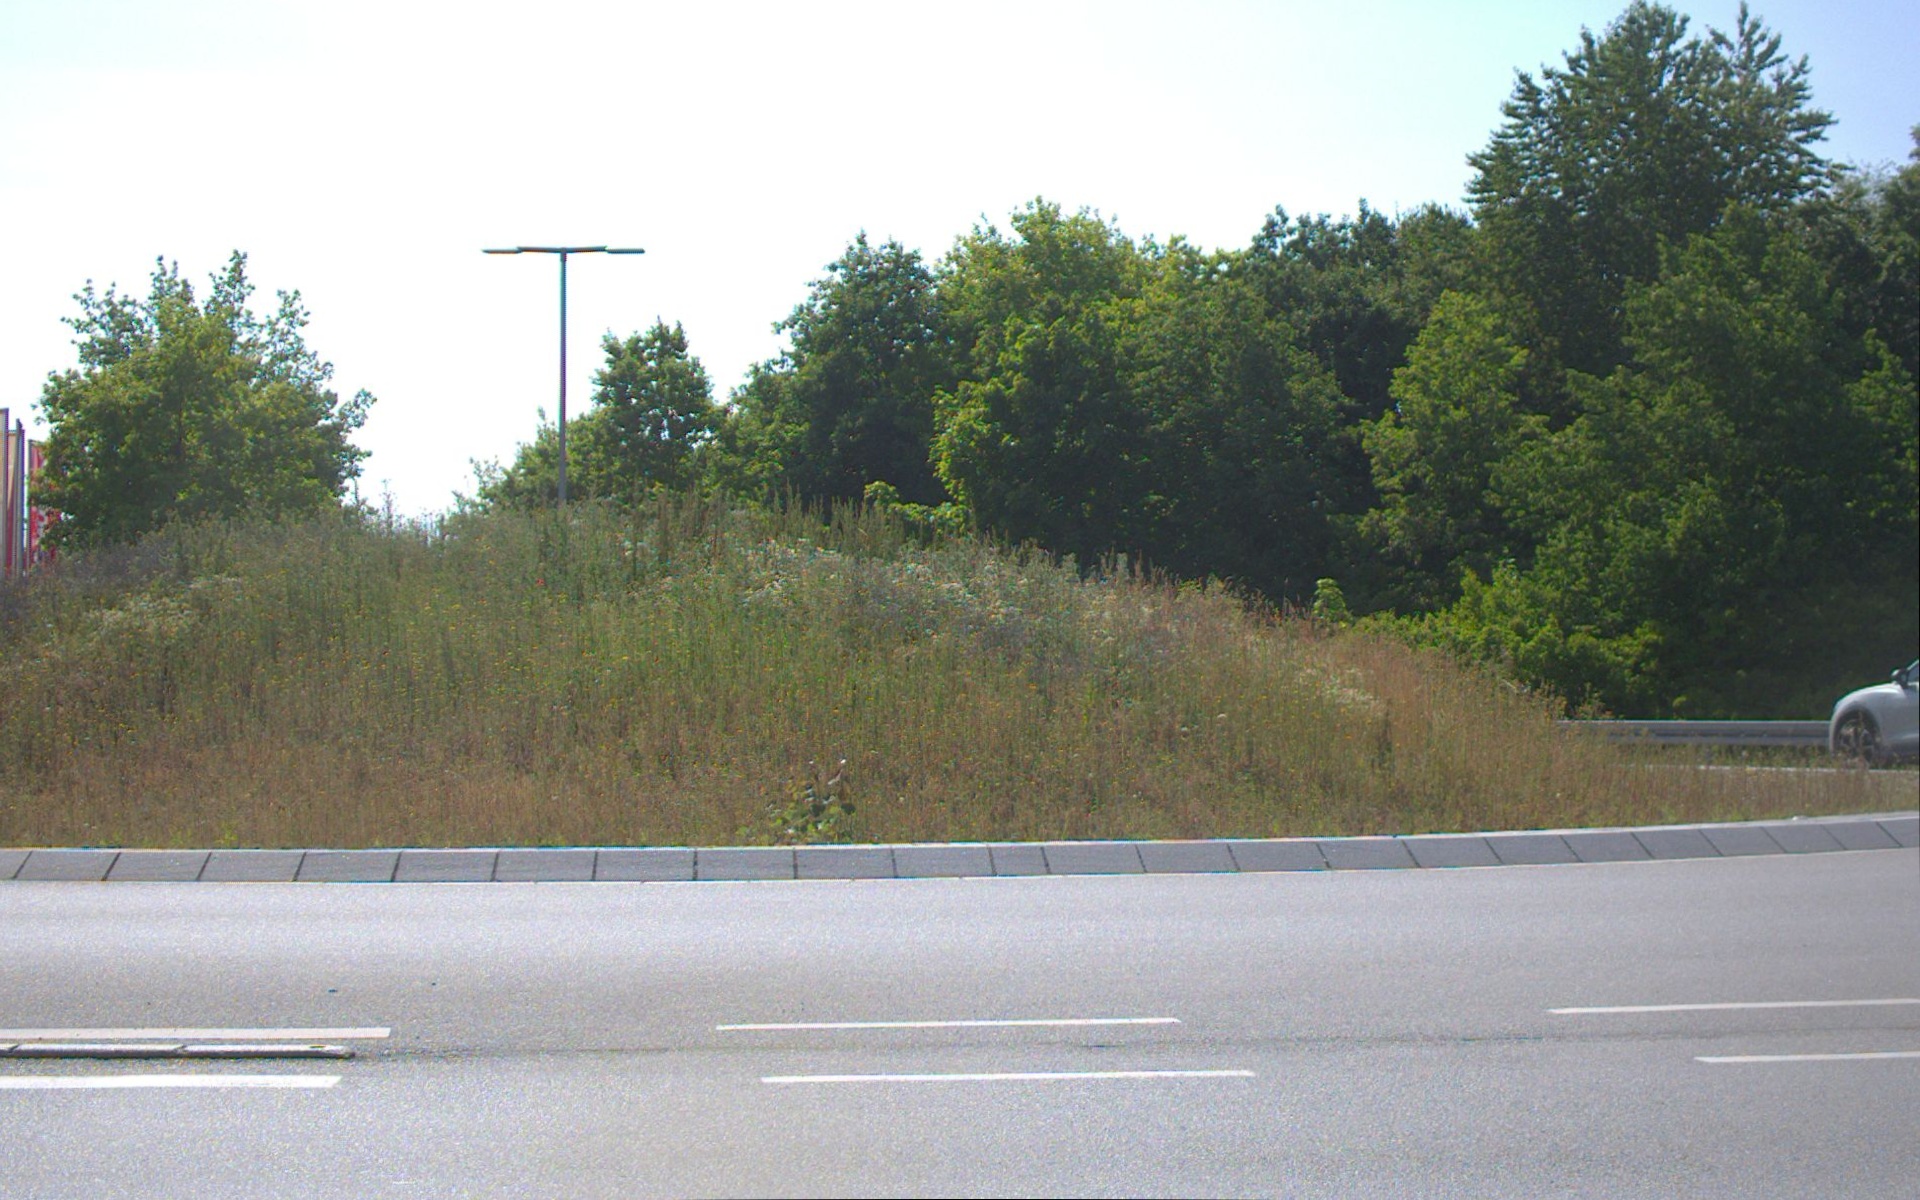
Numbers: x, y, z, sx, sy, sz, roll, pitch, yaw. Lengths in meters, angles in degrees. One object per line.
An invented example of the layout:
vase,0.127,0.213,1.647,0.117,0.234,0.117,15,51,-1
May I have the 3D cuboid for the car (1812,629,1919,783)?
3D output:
car,11.014,1.144,36.236,1.840,1.590,4.326,1,0,-19
